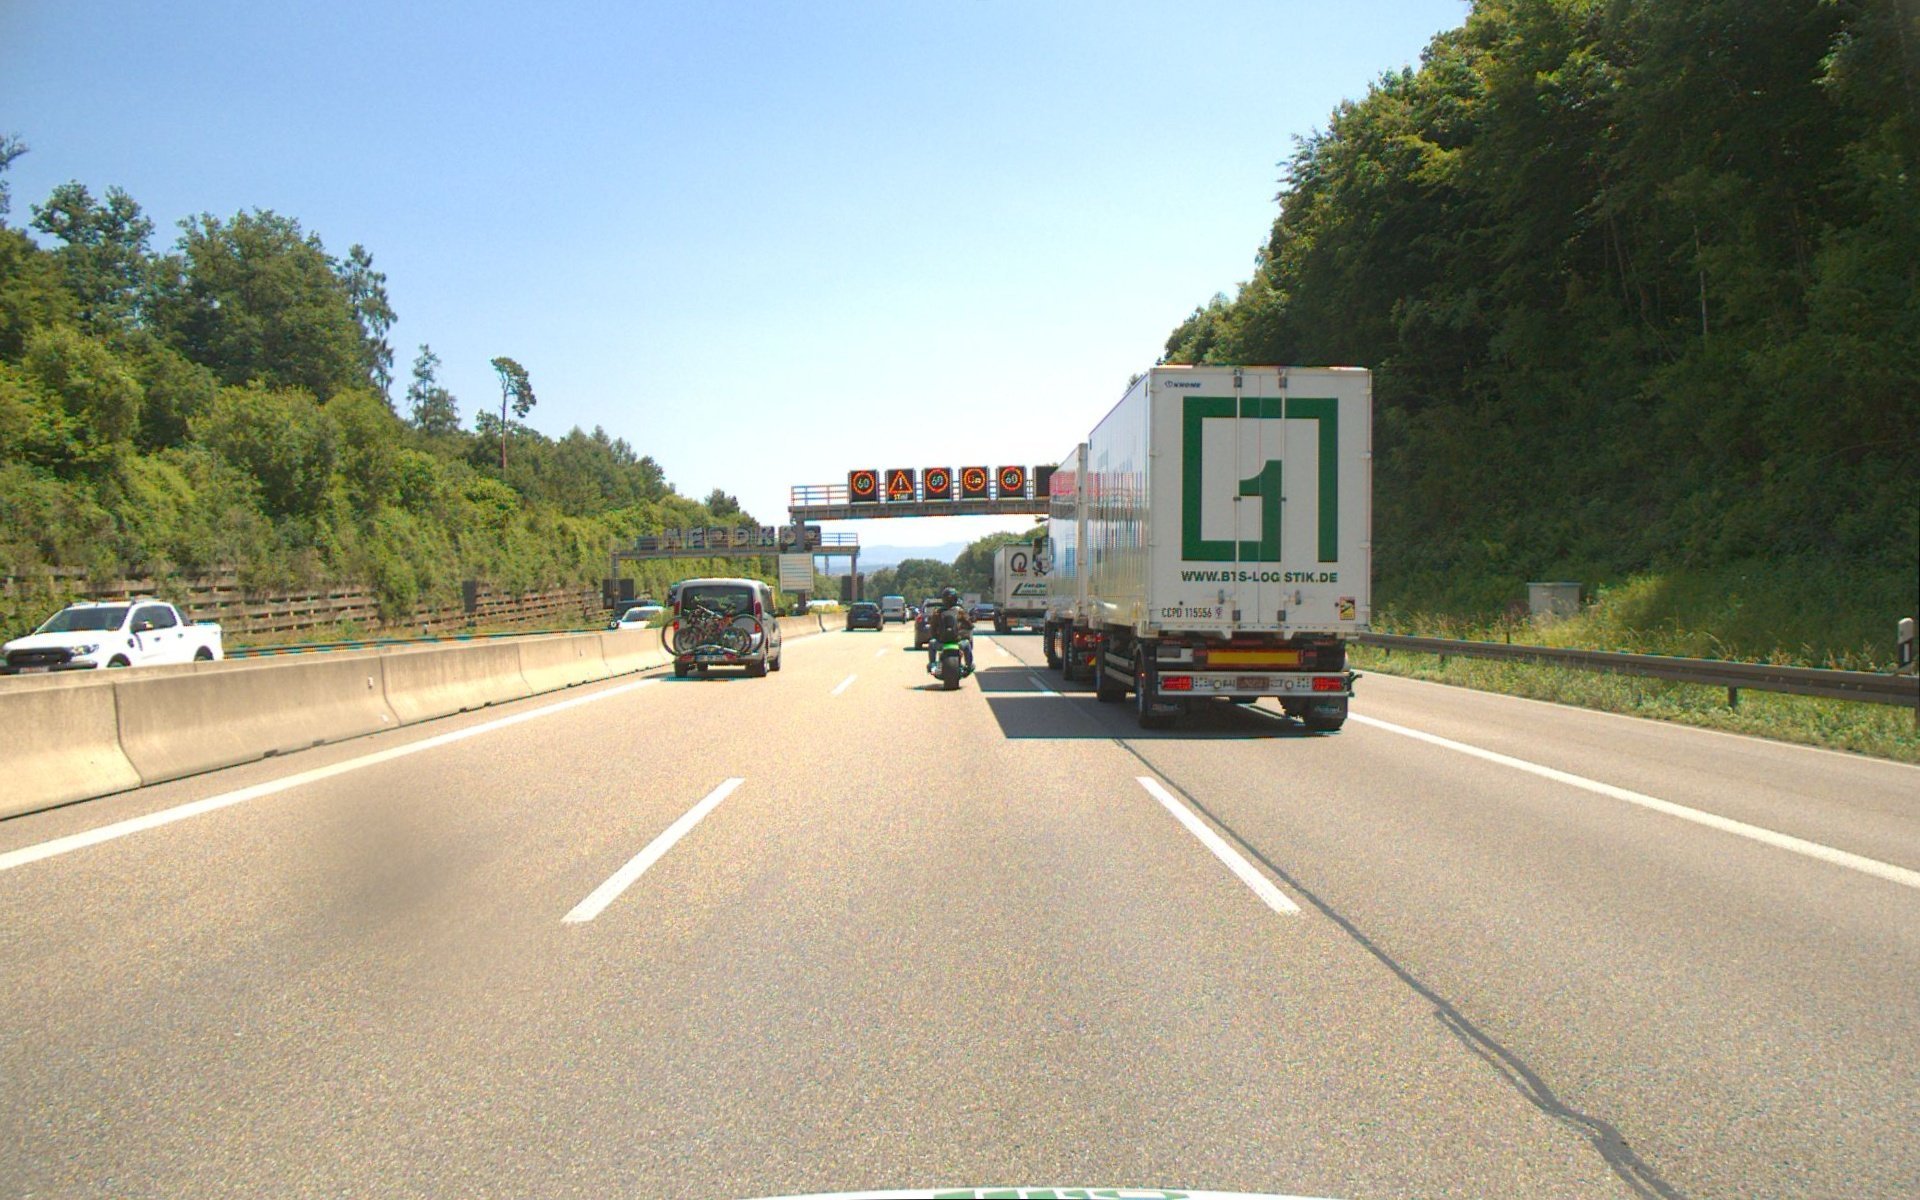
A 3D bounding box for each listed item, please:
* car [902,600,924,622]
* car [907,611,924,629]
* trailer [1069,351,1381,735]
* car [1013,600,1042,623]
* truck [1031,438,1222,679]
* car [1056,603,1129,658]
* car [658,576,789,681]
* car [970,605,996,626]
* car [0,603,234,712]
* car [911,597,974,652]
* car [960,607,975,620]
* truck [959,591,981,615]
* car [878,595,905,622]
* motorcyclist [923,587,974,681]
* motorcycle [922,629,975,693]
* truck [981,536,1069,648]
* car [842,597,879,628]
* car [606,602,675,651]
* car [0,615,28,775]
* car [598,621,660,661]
[{"bbox_3d":[-3.941,0.901,138.586,1.794,1.842,4.119,0,0,-1],"label":"car"},{"bbox_3d":[-4.890,2.170,181.552,1.794,1.842,4.119,0,0,-1],"label":"car"},{"bbox_3d":[3.268,-0.612,23.349,2.625,4.249,10.063,0,0,-1],"label":"trailer"},{"bbox_3d":[4.756,0.798,117.189,1.794,1.553,4.026,0,0,-1],"label":"car"},{"bbox_3d":[3.083,-0.691,33.653,2.625,4.131,10.622,0,0,-1],"label":"truck"},{"bbox_3d":[3.987,0.906,50.382,1.808,1.584,4.391,0,0,-1],"label":"car"},{"bbox_3d":[-4.503,0.544,32.284,1.859,1.880,5.481,0,-1,-1],"label":"car"},{"bbox_3d":[1.724,1.175,125.196,1.794,1.553,4.026,0,0,-1],"label":"car"},{"bbox_3d":[-15.056,0.939,29.387,1.845,1.666,5.648,-2,0,-1],"label":"car"},{"bbox_3d":[-0.539,0.707,50.045,1.808,1.584,4.438,0,0,-1],"label":"car"},{"bbox_3d":[0.934,1.646,207.666,1.794,1.553,4.026,0,0,-1],"label":"car"},{"bbox_3d":[1.420,0.431,236.279,3.005,3.405,9.650,1,0,-1],"label":"truck"},{"bbox_3d":[-4.809,0.591,116.912,1.794,1.842,4.119,0,0,-1],"label":"car"},{"bbox_3d":[-0.184,0.560,27.647,0.838,1.541,0.913,0,-1,0],"label":"motorcyclist"},{"bbox_3d":[-0.180,0.998,27.637,0.844,0.999,2.130,0,-1,0],"label":"motorcycle"},{"bbox_3d":[2.967,-0.311,81.305,3.314,4.800,17.705,1,0,-1],"label":"truck"},{"bbox_3d":[-5.126,0.609,85.330,1.722,1.571,4.394,0,0,-1],"label":"car"},{"bbox_3d":[-11.460,0.932,59.593,1.711,1.633,4.057,-2,0,-1],"label":"car"},{"bbox_3d":[-10.914,1.033,15.685,1.717,1.666,4.302,-2,0,-1],"label":"car"},{"bbox_3d":[-14.965,1.838,75.036,1.900,1.633,4.655,-2,0,-1],"label":"car"}]
